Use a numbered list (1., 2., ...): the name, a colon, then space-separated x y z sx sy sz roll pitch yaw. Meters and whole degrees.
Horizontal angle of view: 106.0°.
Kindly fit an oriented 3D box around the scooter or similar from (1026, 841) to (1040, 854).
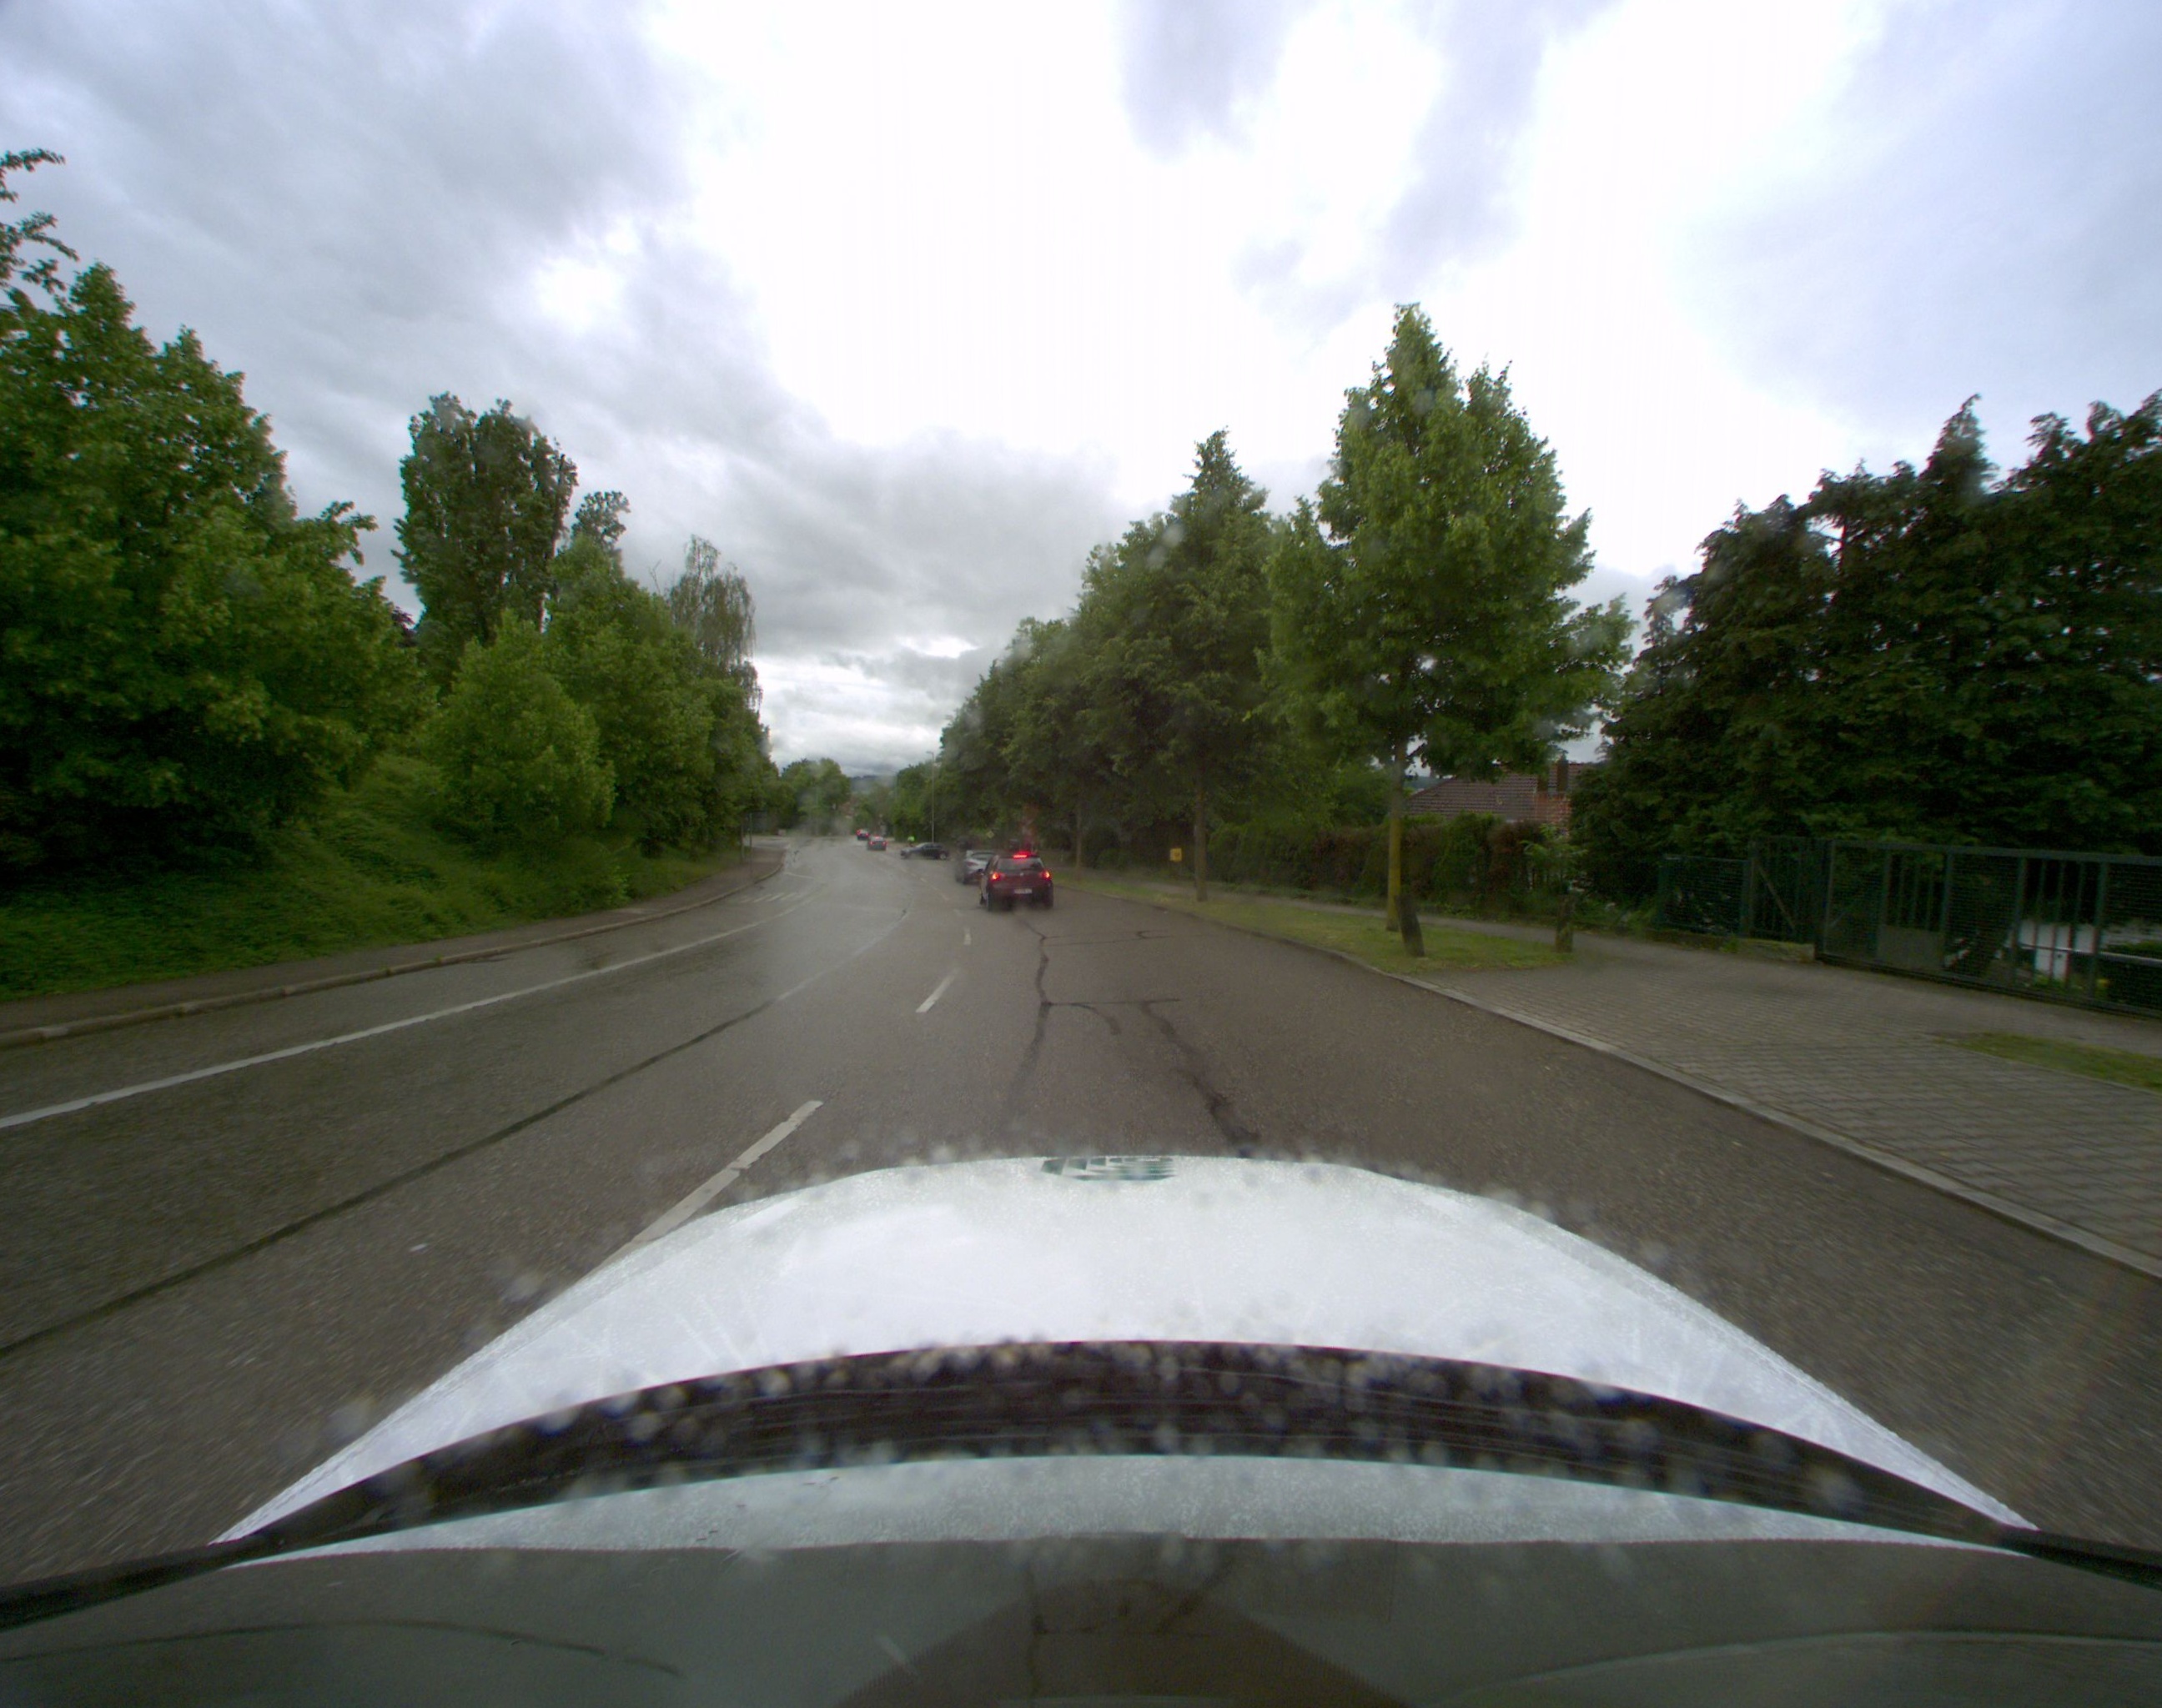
1. scooter or similar: -4.846 -0.627 81.907 1.342 1.285 0.557 -1 2 -24

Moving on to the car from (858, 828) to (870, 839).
1. car: -33.434 -3.163 125.302 1.725 1.464 3.979 3 1 -16

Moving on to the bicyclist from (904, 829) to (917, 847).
1. bicyclist: -16.920 -1.601 80.715 0.857 1.755 1.273 0 1 -33

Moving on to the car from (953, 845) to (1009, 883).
1. car: -4.433 0.390 35.626 1.759 1.464 3.977 0 1 -17

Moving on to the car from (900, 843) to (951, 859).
1. car: -13.669 -0.280 71.650 4.144 1.383 1.714 0 0 -23

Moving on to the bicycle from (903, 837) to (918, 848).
1. bicycle: -16.922 -1.143 80.714 0.857 1.155 2.017 0 1 -32

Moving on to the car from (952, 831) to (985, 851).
1. car: -11.649 -1.366 84.866 1.936 1.688 4.919 3 4 10

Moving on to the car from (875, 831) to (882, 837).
1. car: -51.379 -5.164 206.608 1.724 1.463 3.982 -1 2 -14

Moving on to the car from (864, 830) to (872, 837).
1. car: -51.791 -5.022 198.245 1.725 1.464 3.979 3 1 -16

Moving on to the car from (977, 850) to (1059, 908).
1. car: -1.808 0.623 22.377 1.723 1.464 3.983 0 0 -12

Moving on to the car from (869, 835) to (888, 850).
1. car: -21.274 -1.228 85.484 1.725 1.464 3.979 3 1 -16

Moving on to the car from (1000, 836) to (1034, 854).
1. car: -6.495 -0.924 83.699 1.737 1.469 4.589 4 5 19
